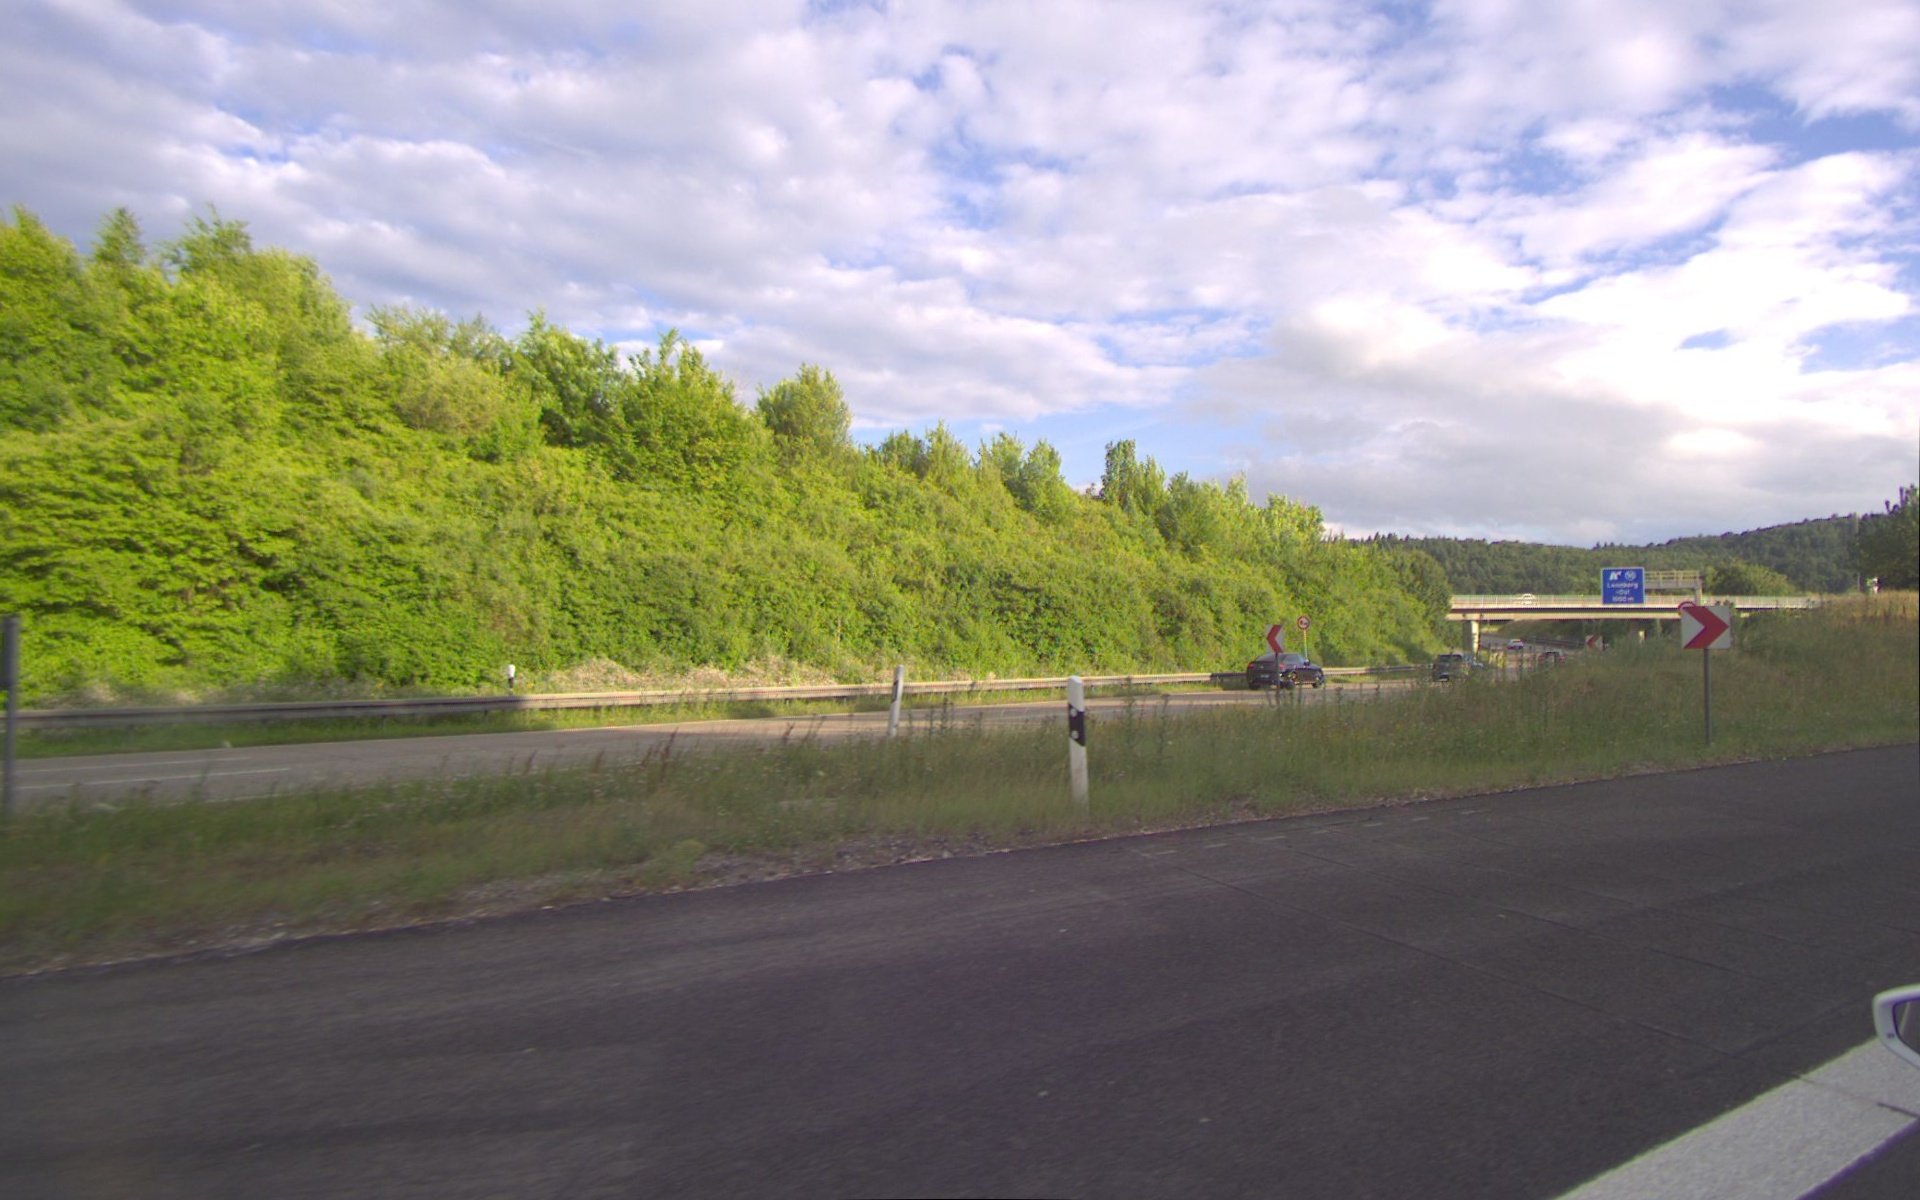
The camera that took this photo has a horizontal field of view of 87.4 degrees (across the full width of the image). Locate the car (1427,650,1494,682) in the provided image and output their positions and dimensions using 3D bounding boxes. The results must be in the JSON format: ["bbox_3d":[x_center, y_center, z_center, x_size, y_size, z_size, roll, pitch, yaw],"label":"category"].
[{"bbox_3d":[24.658,3.243,49.411,3.761,1.485,1.721,3,-6,-44],"label":"car"}]

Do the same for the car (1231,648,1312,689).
[{"bbox_3d":[13.370,2.907,42.993,1.812,1.656,3.980,-5,-5,41],"label":"car"}]

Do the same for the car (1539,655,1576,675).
[{"bbox_3d":[44.802,4.876,75.299,1.587,1.485,3.508,-5,-6,43],"label":"car"}]

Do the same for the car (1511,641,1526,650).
[{"bbox_3d":[89.710,7.326,161.366,1.715,1.486,3.626,-2,-4,36],"label":"car"}]
